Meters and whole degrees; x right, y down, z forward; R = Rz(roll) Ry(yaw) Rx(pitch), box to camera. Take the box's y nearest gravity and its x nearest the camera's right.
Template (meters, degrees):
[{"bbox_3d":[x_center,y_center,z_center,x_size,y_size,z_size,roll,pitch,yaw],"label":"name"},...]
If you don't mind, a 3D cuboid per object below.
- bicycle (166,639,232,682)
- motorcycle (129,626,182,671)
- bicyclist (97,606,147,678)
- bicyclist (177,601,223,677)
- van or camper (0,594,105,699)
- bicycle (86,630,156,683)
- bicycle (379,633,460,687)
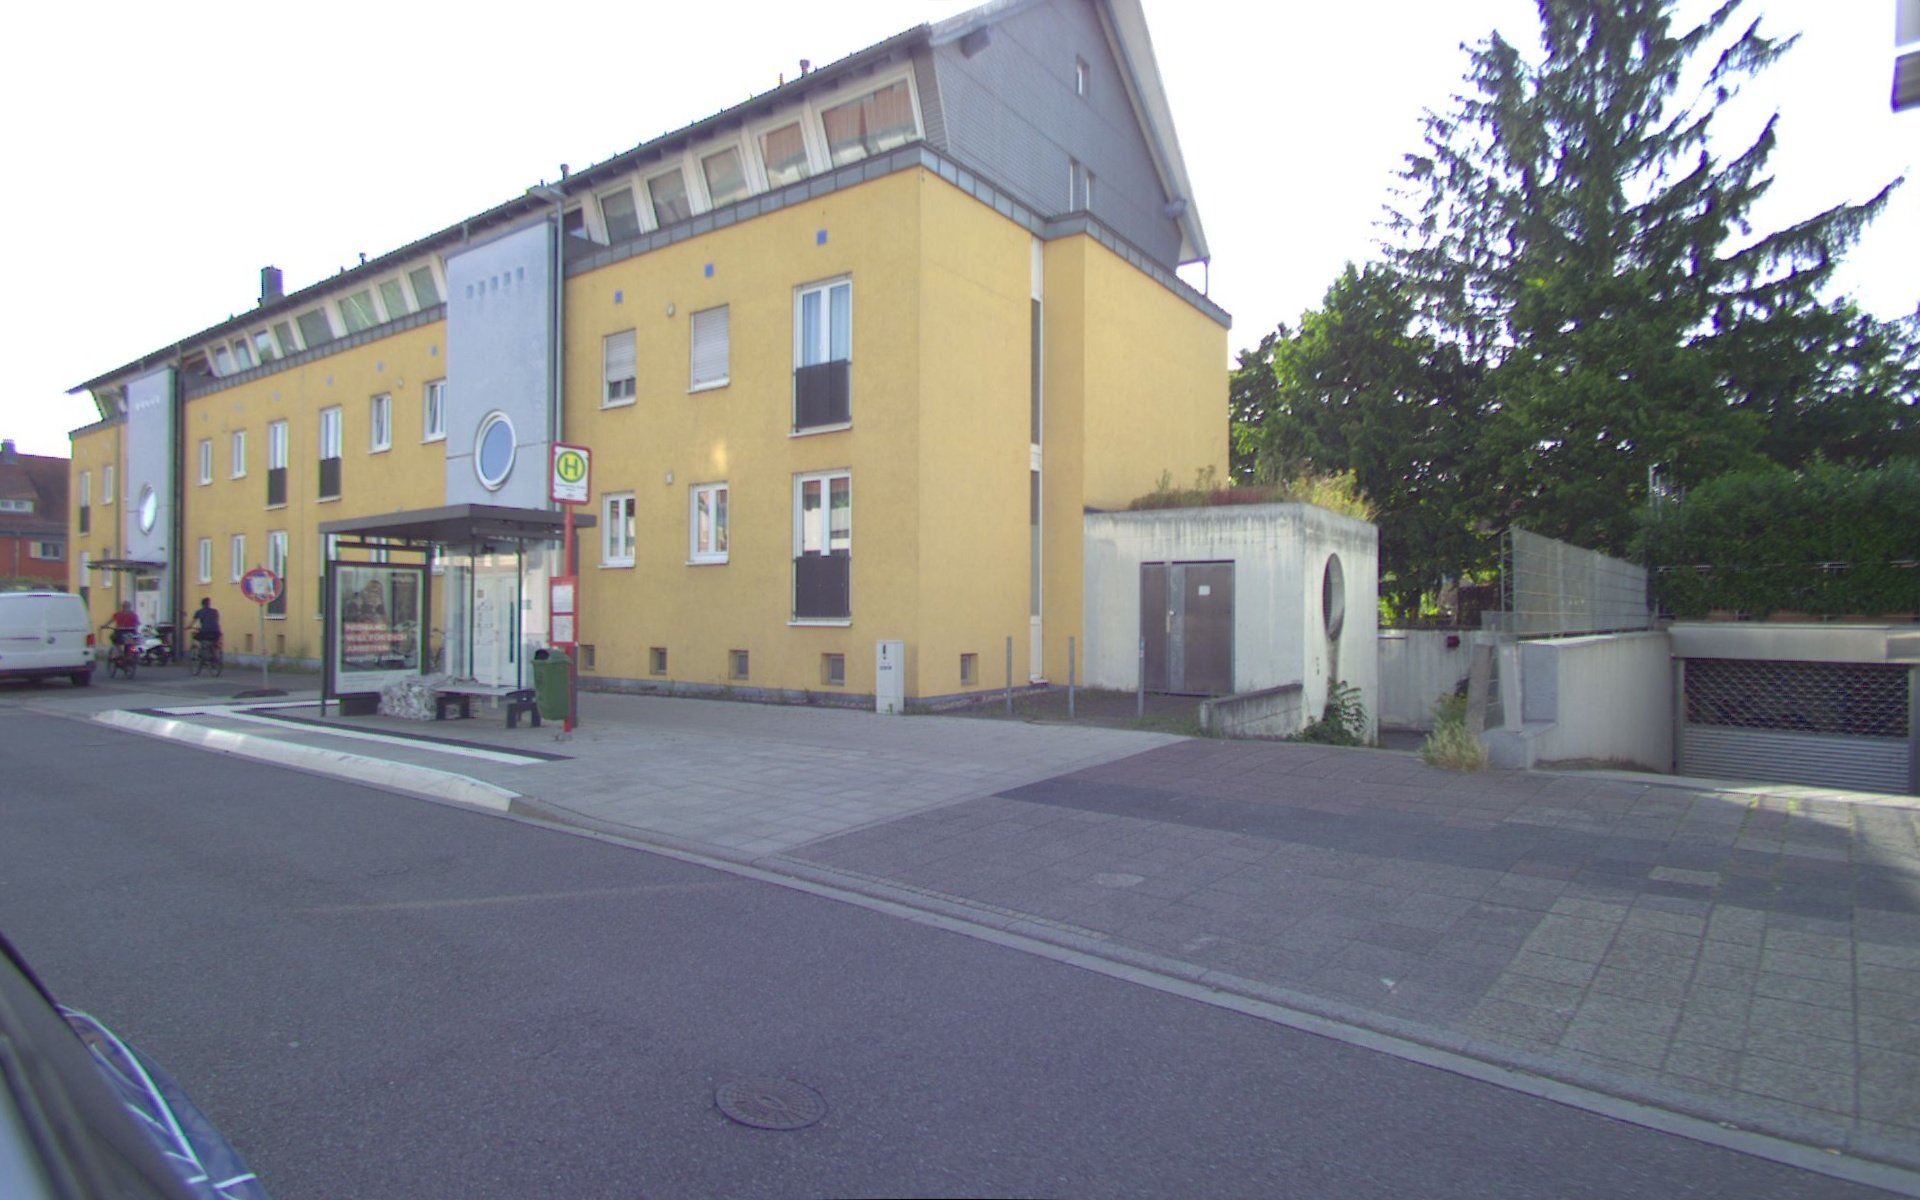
[{"bbox_3d":[-17.401,1.369,23.133,1.870,0.919,0.684,-1,-1,36],"label":"bicycle"},{"bbox_3d":[-22.074,1.319,27.755,1.872,1.191,0.577,-1,0,32],"label":"motorcycle"},{"bbox_3d":[-19.304,0.949,23.314,0.725,1.615,0.665,-1,-1,30],"label":"bicyclist"},{"bbox_3d":[-17.348,0.880,23.098,0.664,1.682,0.668,-1,-1,35],"label":"bicyclist"},{"bbox_3d":[-20.096,0.912,21.338,4.909,2.018,1.977,-1,0,35],"label":"van or camper"},{"bbox_3d":[-19.370,1.287,23.358,2.015,1.169,0.607,-1,-1,31],"label":"bicycle"},{"bbox_3d":[-10.973,1.196,20.517,1.903,1.005,0.709,-1,0,37],"label":"bicycle"}]
